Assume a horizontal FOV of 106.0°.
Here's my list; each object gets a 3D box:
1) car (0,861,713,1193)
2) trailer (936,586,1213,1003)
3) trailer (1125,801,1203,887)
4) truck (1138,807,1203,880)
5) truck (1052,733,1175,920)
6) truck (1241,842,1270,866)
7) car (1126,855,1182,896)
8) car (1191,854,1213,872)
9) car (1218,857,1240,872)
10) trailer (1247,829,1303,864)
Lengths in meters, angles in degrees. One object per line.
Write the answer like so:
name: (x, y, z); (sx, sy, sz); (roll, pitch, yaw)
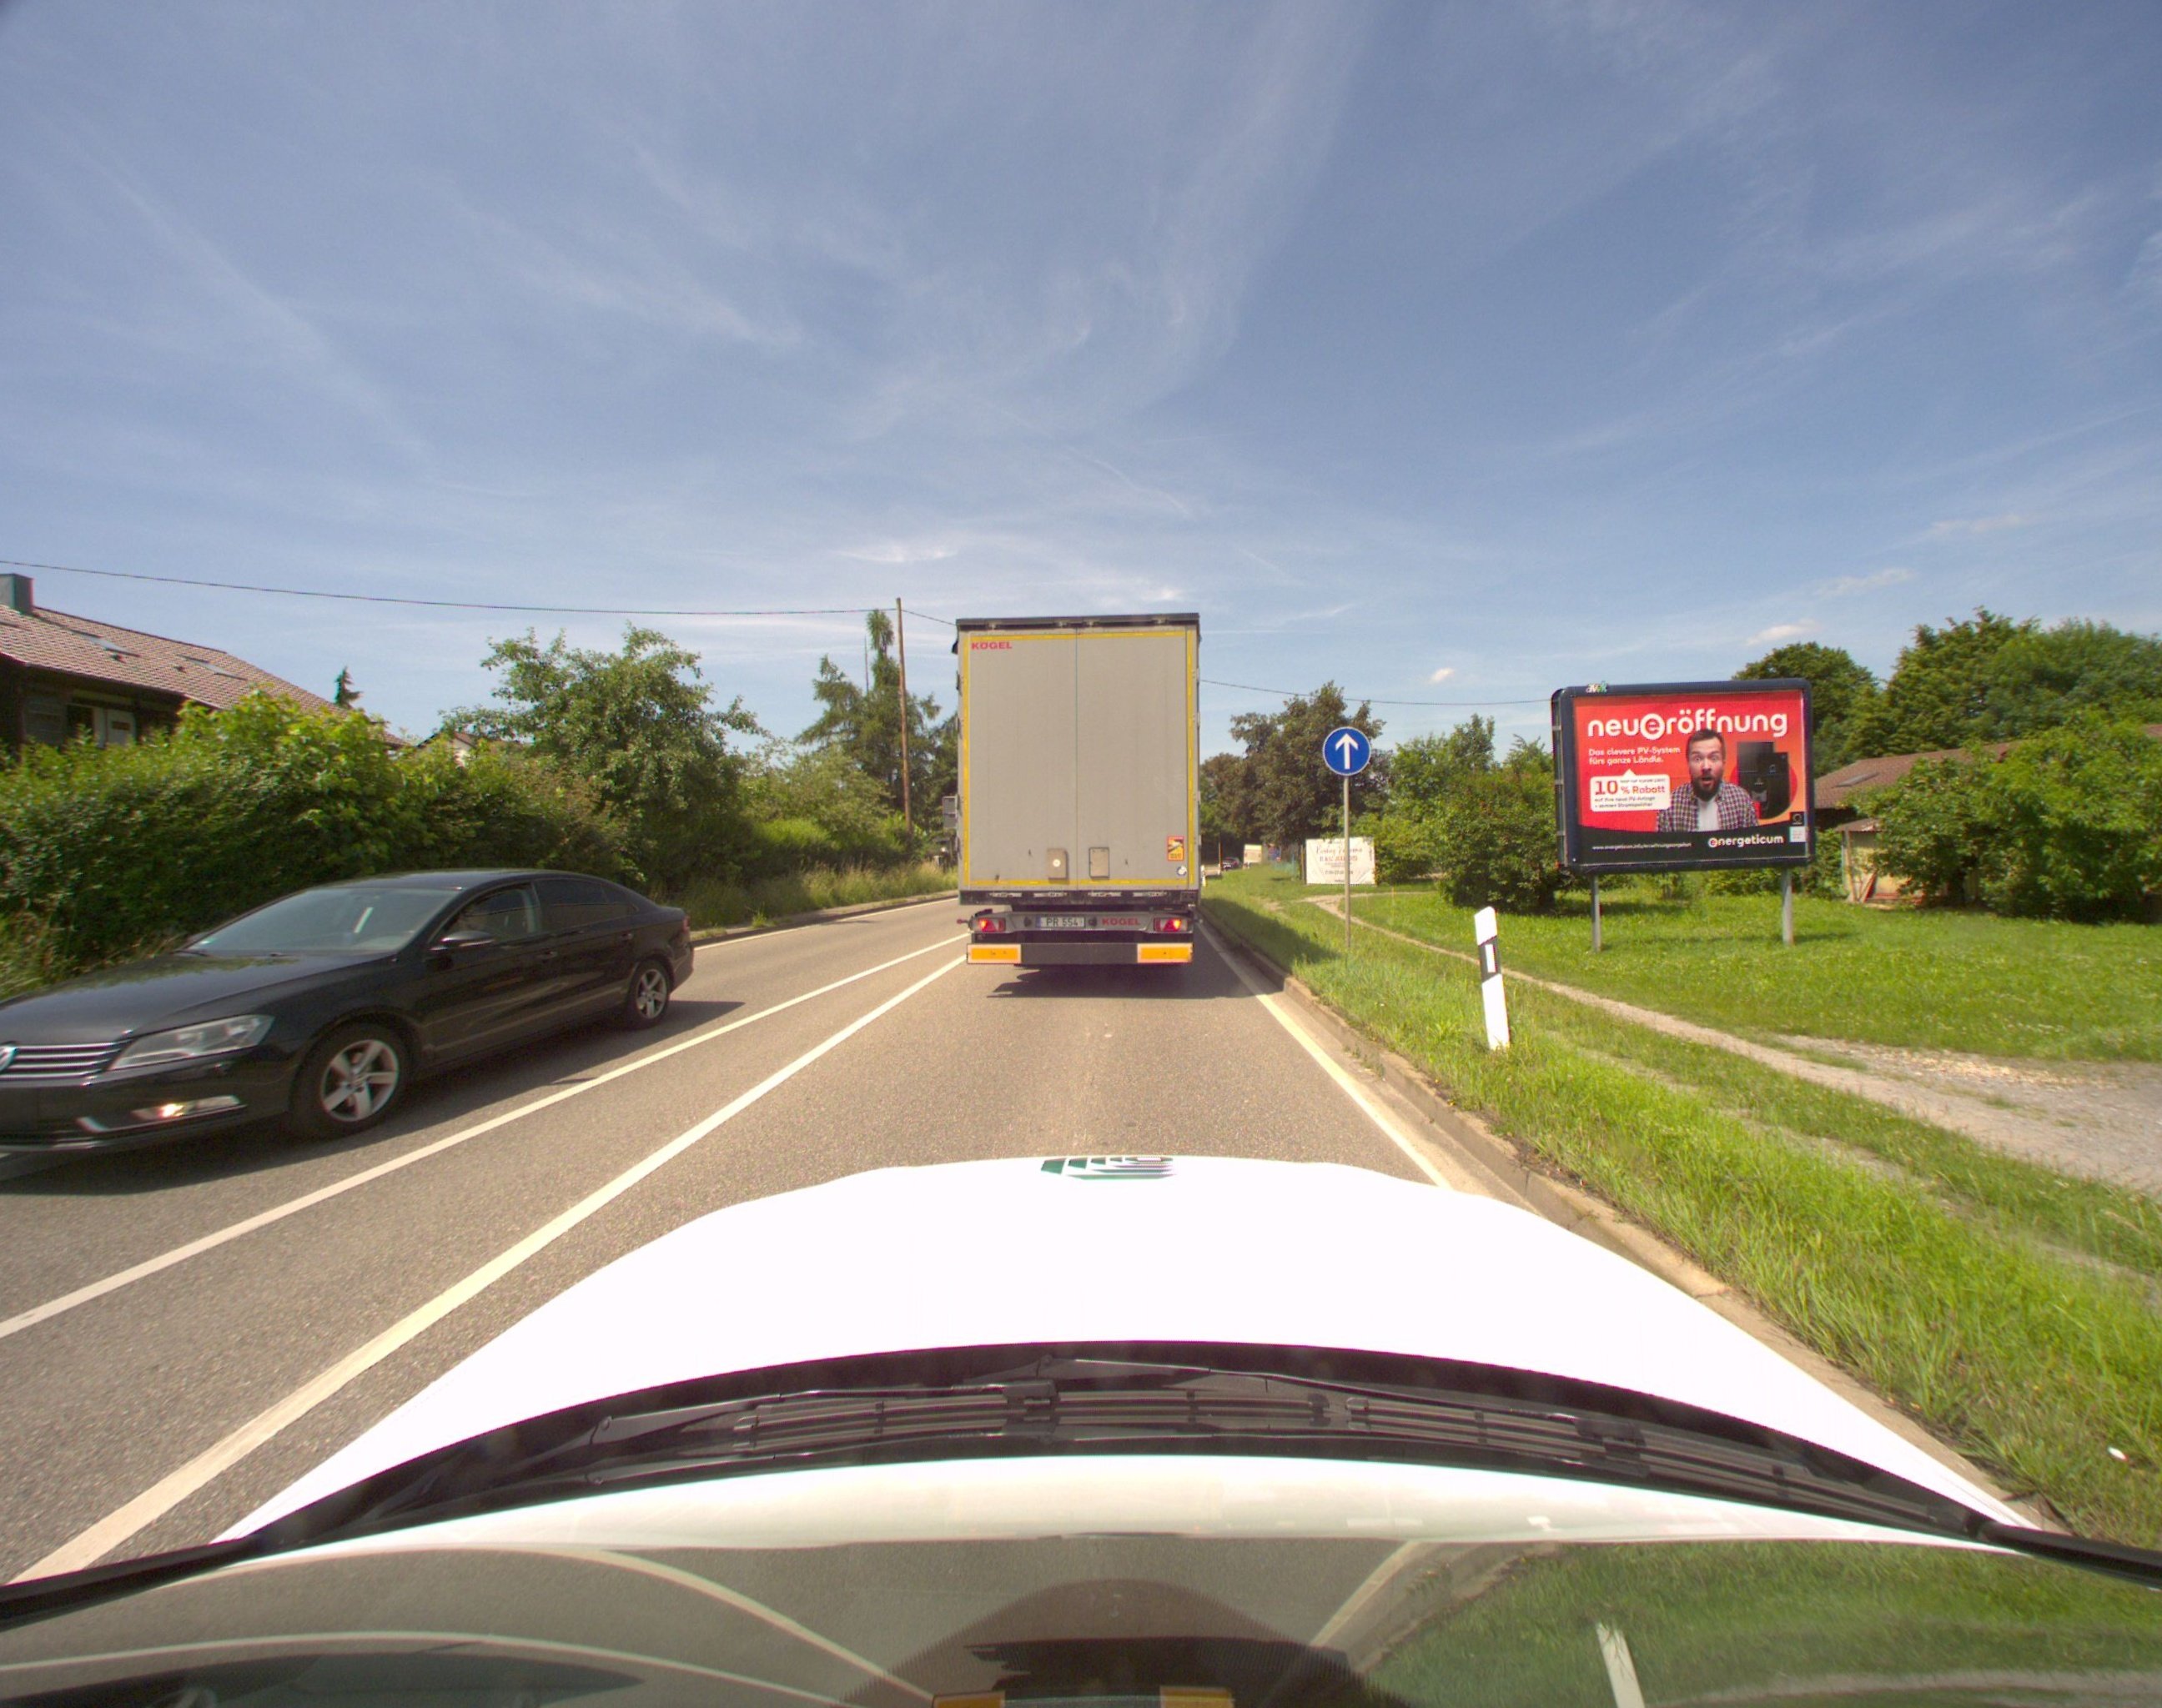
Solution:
car: (-4.818, 0.819, 6.025); (1.807, 1.417, 4.619); (-1, 0, 4)
trailer: (0.387, -0.637, 14.351); (2.774, 4.205, 12.126); (-1, 0, 4)
trailer: (5.301, -0.581, 49.407); (3.868, 4.520, 12.746); (-1, 0, 9)
truck: (6.261, -0.673, 55.848); (3.913, 4.574, 7.170); (-1, 0, 9)
truck: (1.084, -0.636, 21.458); (2.731, 4.165, 6.154); (-1, 0, 6)
truck: (21.609, 0.006, 100.654); (2.399, 2.838, 5.442); (-1, 0, 23)
car: (3.062, 0.831, 33.357); (1.982, 1.530, 4.010); (-1, 0, 9)
car: (13.095, 0.916, 87.721); (1.980, 1.837, 4.015); (-1, 0, 13)
car: (16.305, 1.130, 89.532); (1.827, 1.486, 4.018); (-1, 0, 17)
trailer: (27.946, -1.035, 116.366); (5.133, 4.628, 15.984); (-1, 0, 23)
